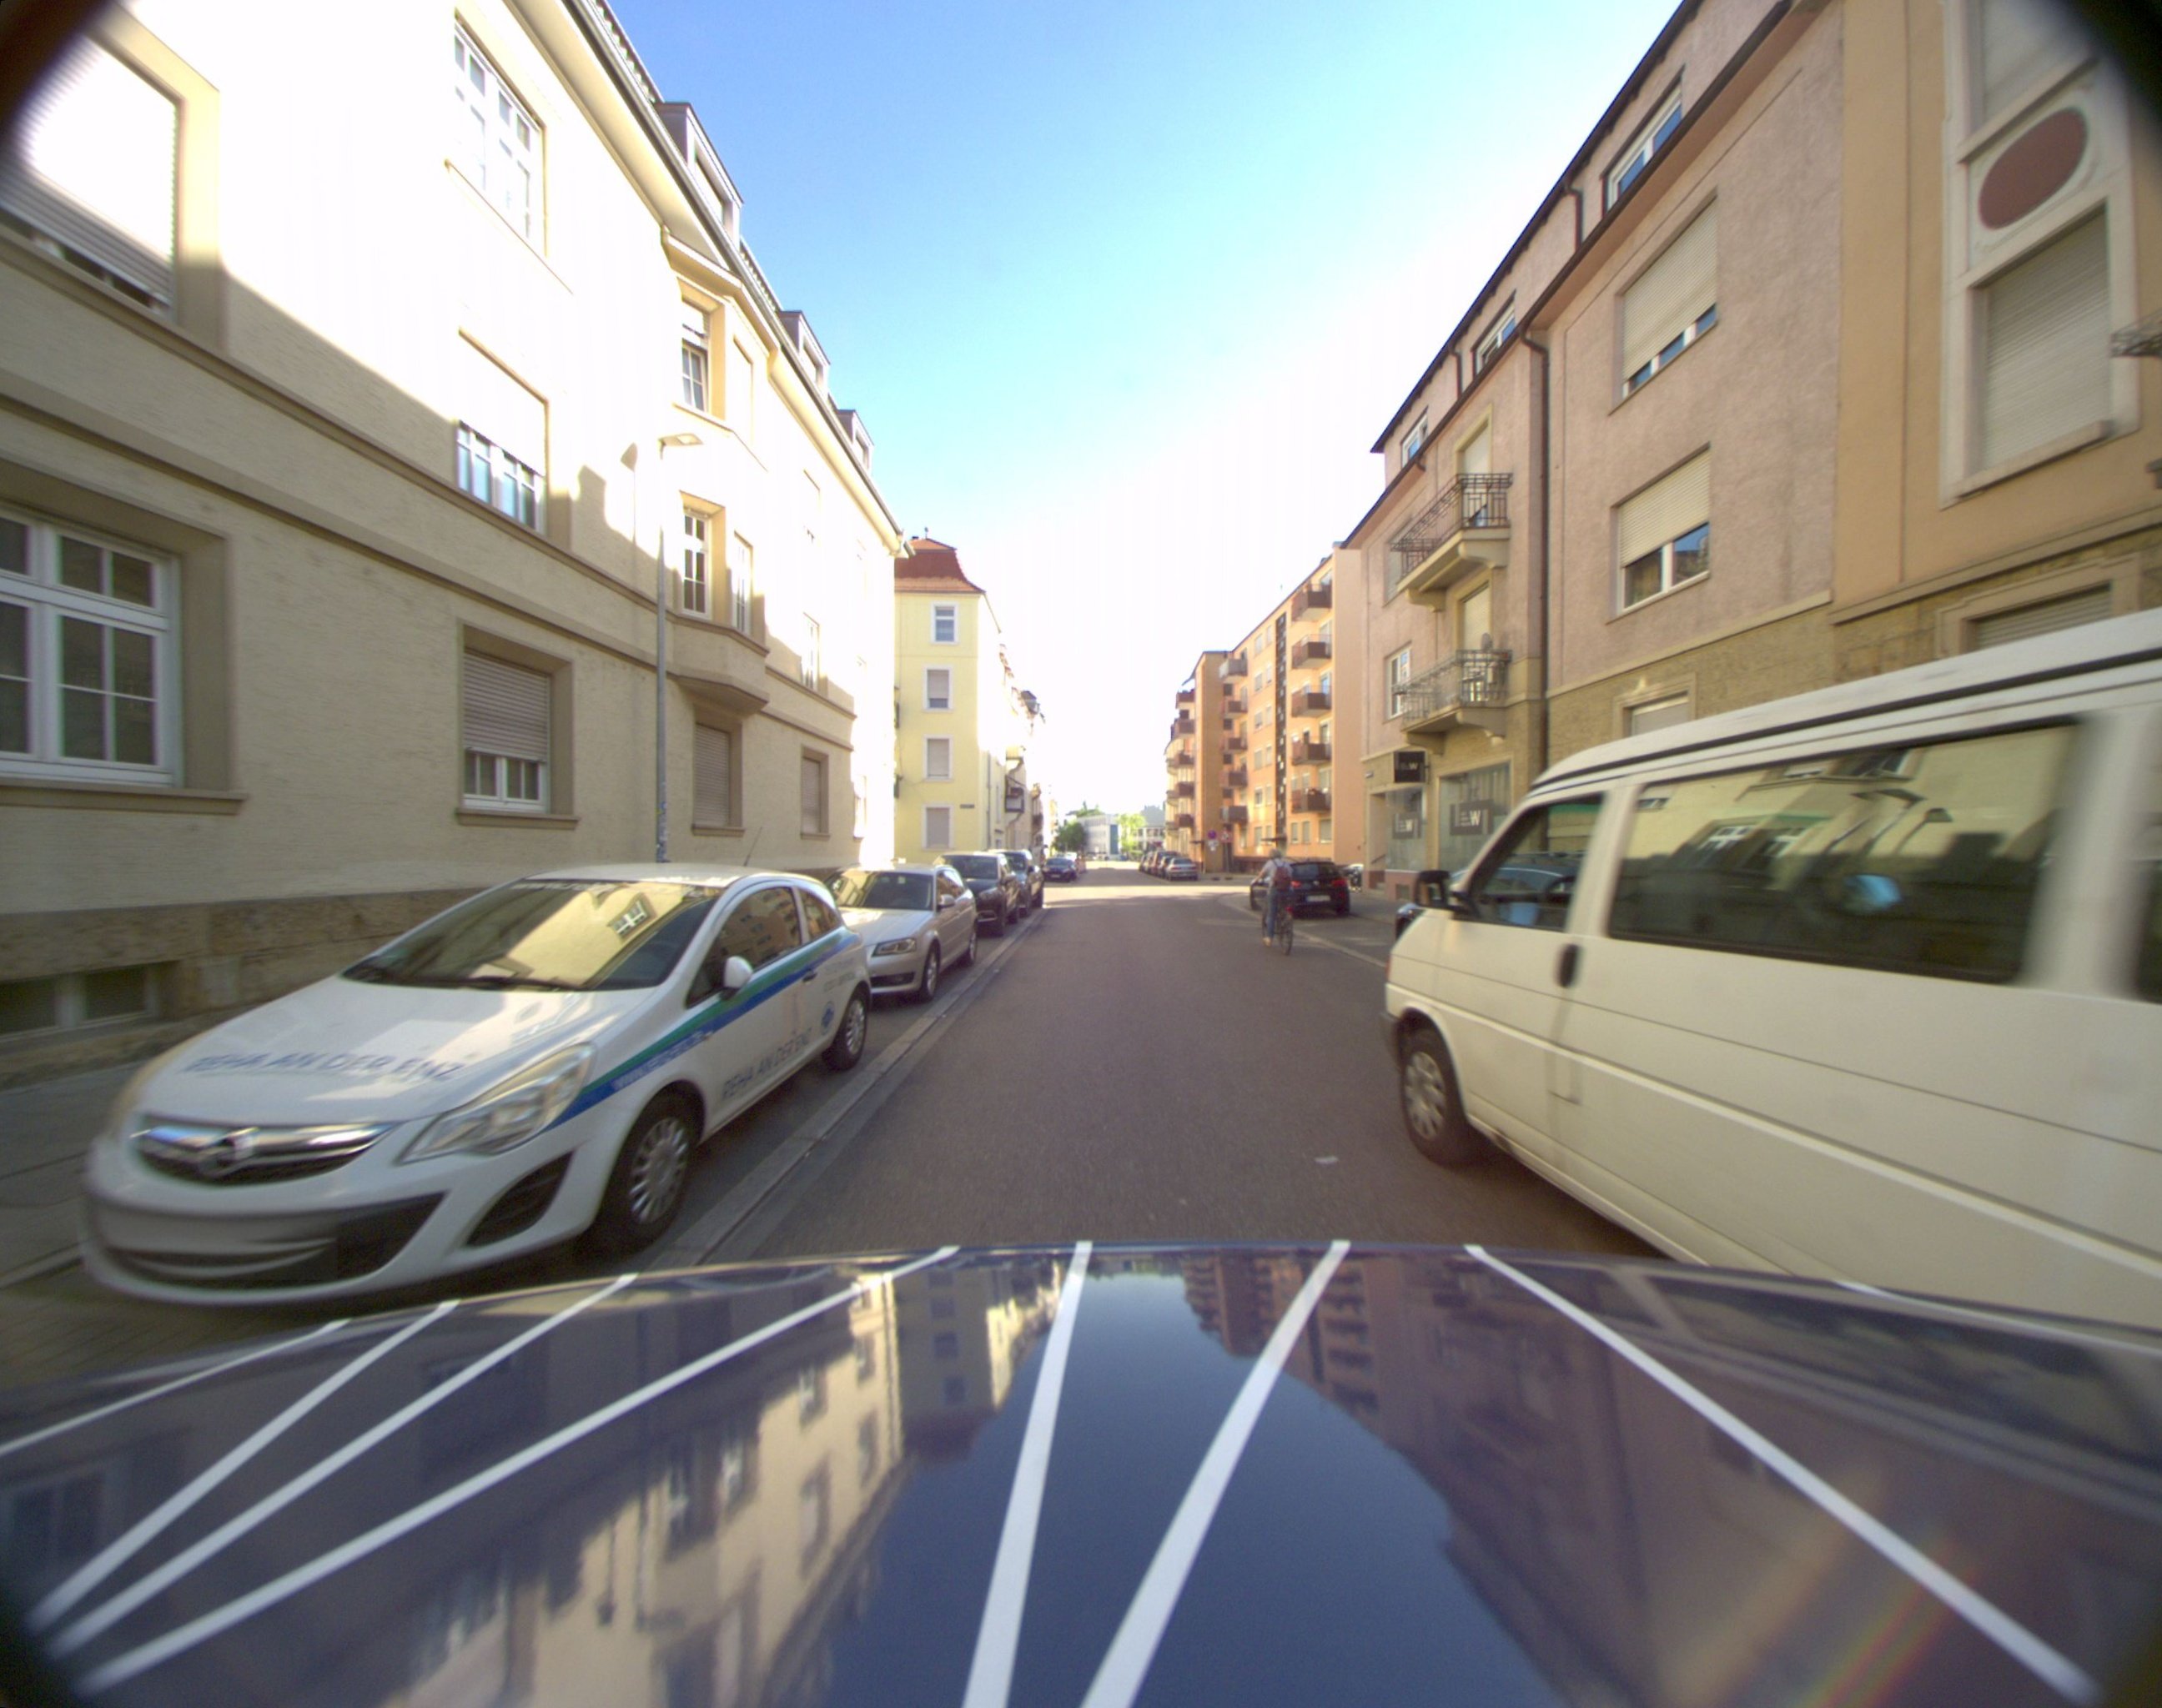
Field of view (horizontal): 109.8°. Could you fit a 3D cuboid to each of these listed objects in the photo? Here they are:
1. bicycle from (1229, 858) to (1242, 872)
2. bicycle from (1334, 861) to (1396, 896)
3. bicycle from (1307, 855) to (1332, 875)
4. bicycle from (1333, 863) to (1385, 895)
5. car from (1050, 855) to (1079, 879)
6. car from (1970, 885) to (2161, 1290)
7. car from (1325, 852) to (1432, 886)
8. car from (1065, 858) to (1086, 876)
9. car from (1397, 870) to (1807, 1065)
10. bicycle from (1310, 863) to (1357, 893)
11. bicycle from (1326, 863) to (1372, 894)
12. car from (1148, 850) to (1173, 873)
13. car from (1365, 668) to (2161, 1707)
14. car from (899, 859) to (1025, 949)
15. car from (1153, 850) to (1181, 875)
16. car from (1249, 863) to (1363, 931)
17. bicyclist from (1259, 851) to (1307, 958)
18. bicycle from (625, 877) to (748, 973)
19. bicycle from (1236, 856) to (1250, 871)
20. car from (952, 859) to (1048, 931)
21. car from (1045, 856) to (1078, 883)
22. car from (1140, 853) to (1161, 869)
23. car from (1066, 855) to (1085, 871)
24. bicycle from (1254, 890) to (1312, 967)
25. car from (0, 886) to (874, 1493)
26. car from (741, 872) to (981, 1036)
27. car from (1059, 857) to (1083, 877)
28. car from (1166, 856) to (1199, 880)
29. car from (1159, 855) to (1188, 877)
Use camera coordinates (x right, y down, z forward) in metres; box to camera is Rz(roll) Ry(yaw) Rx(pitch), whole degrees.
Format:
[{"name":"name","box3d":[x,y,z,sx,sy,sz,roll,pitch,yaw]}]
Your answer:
[{"name":"bicycle","box3d":[11.855,0.839,58.476,0.494,1.101,1.805,0,0,-5]},{"name":"bicycle","box3d":[9.430,0.811,25.257,1.809,1.129,0.695,0,0,-1]},{"name":"bicycle","box3d":[13.452,0.606,42.886,0.688,1.101,1.805,0,0,-5]},{"name":"bicycle","box3d":[10.440,0.932,28.509,1.861,1.140,0.435,0,0,-9]},{"name":"car","box3d":[-1.020,0.834,49.578,1.708,1.417,3.722,1,1,1]},{"name":"car","box3d":[5.019,0.900,1.694,1.719,1.529,3.723,-1,0,0]},{"name":"car","box3d":[14.160,0.703,36.330,4.454,1.550,1.780,0,0,-6]},{"name":"car","box3d":[-0.448,1.135,67.258,1.708,1.417,3.722,1,1,1]},{"name":"car","box3d":[5.175,0.989,8.361,1.719,1.512,4.110,0,0,1]},{"name":"bicycle","box3d":[9.907,0.925,29.846,1.663,1.140,0.593,0,0,-4]},{"name":"bicycle","box3d":[10.241,0.923,29.072,1.664,1.140,0.435,0,0,-10]},{"name":"car","box3d":[6.627,0.634,63.892,1.822,1.867,4.112,0,0,2]},{"name":"car","box3d":[2.544,0.688,2.078,1.868,1.925,4.600,0,0,1]},{"name":"car","box3d":[-2.238,0.894,15.325,1.684,1.537,3.915,1,0,3]},{"name":"car","box3d":[6.500,0.614,57.953,1.822,1.867,4.112,0,0,2]},{"name":"car","box3d":[5.370,0.973,18.650,1.719,1.378,3.865,-3,0,2]},{"name":"bicyclist","box3d":[3.207,0.780,12.094,0.609,1.656,0.632,0,0,2]},{"name":"bicycle","box3d":[-5.578,0.952,10.914,0.832,1.194,1.955,0,0,-3]},{"name":"bicycle","box3d":[12.462,0.727,58.508,0.494,1.101,1.805,0,0,-5]},{"name":"car","box3d":[-1.963,0.956,19.752,1.790,1.654,4.435,0,0,3]},{"name":"car","box3d":[-1.070,0.846,44.112,1.708,1.417,3.722,1,1,1]},{"name":"car","box3d":[6.790,0.683,74.432,1.822,1.589,3.812,0,0,2]},{"name":"car","box3d":[-0.467,0.881,73.578,1.708,1.417,3.722,1,1,1]},{"name":"bicycle","box3d":[3.227,1.155,12.262,0.541,1.070,1.800,0,0,3]},{"name":"car","box3d":[-2.353,0.969,3.863,1.590,1.455,3.711,0,0,0]},{"name":"car","box3d":[-2.360,0.993,9.254,1.656,1.455,4.094,0,0,1]},{"name":"car","box3d":[-0.689,0.942,55.922,1.708,1.417,3.722,0,0,0]},{"name":"car","box3d":[6.280,0.823,47.199,1.678,1.414,3.501,0,0,2]},{"name":"car","box3d":[6.330,0.802,52.194,1.678,1.414,3.286,0,0,2]}]
